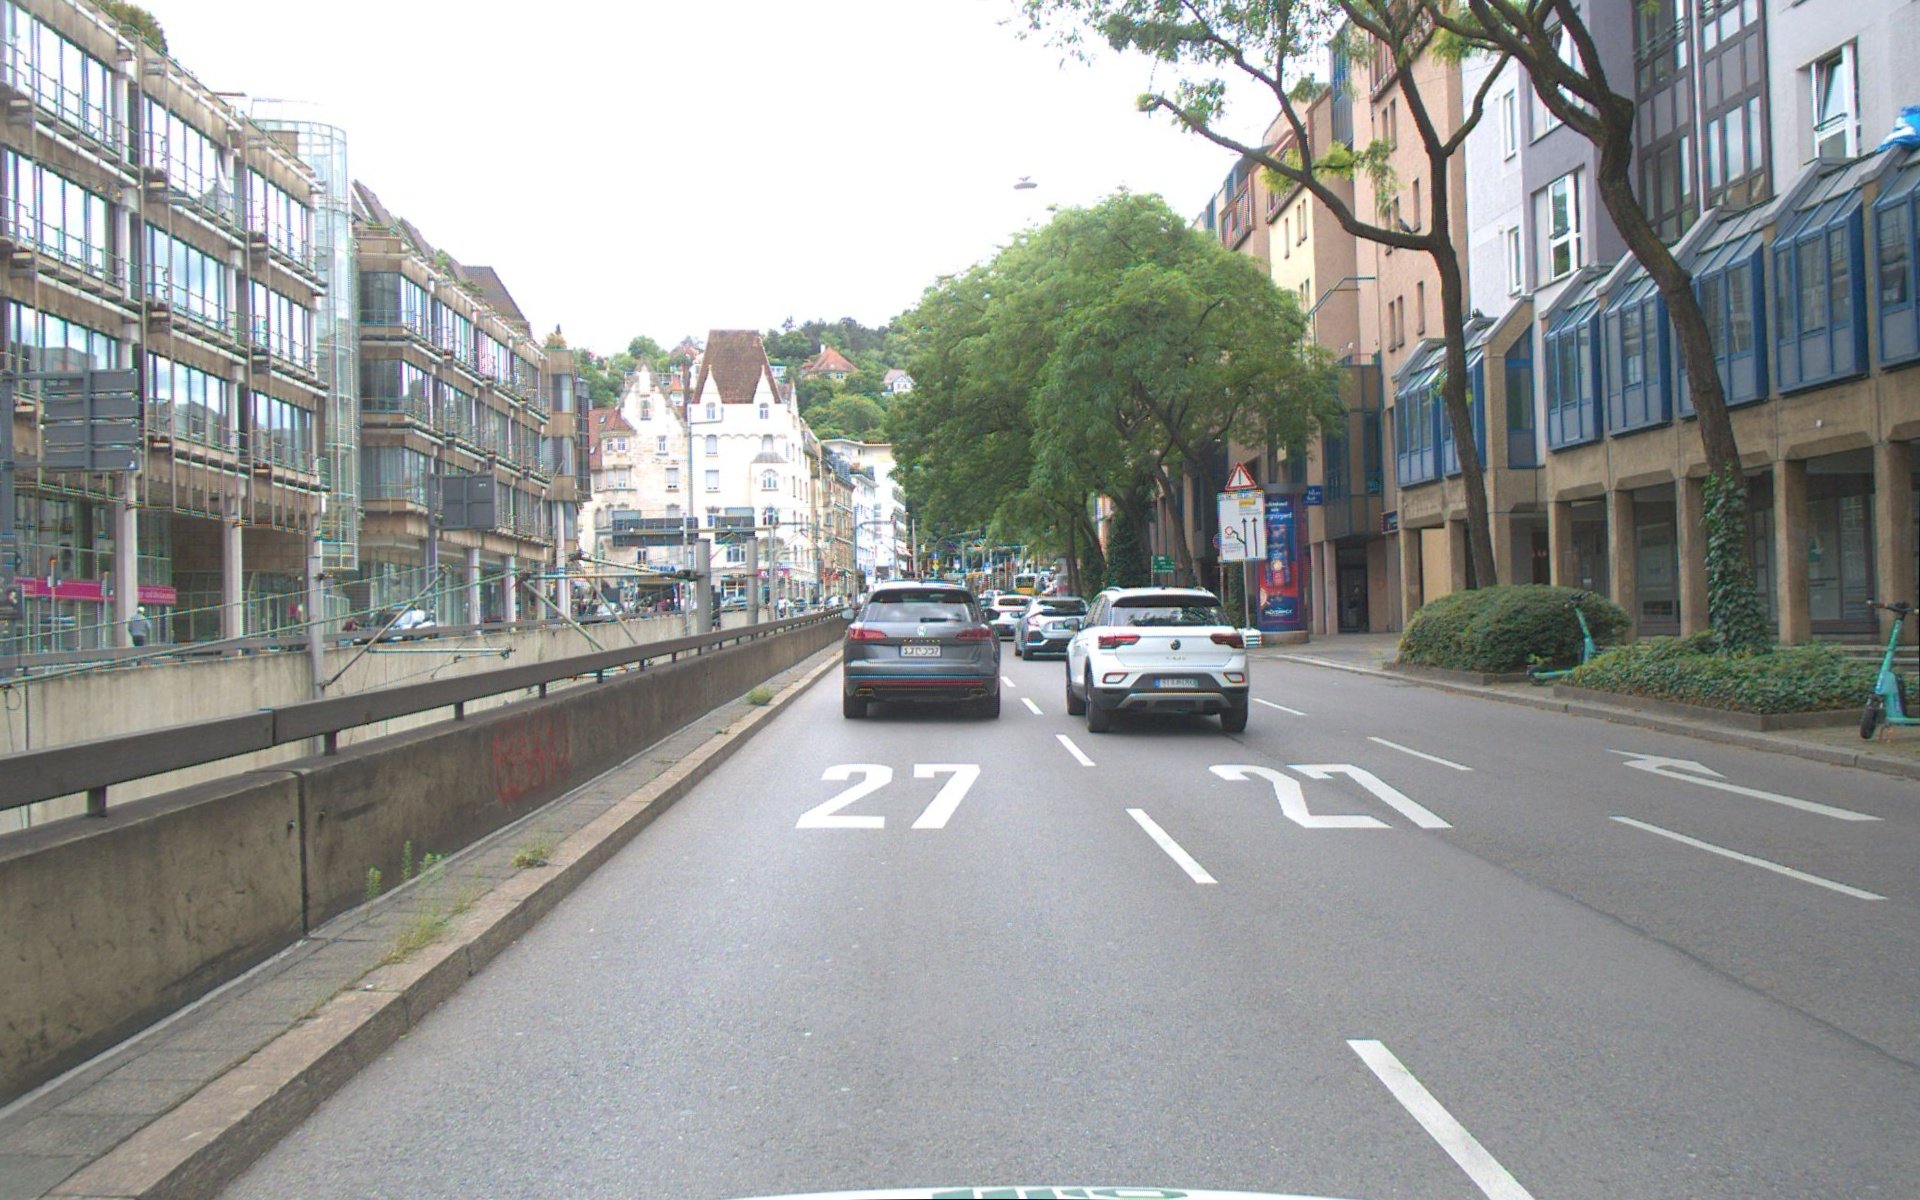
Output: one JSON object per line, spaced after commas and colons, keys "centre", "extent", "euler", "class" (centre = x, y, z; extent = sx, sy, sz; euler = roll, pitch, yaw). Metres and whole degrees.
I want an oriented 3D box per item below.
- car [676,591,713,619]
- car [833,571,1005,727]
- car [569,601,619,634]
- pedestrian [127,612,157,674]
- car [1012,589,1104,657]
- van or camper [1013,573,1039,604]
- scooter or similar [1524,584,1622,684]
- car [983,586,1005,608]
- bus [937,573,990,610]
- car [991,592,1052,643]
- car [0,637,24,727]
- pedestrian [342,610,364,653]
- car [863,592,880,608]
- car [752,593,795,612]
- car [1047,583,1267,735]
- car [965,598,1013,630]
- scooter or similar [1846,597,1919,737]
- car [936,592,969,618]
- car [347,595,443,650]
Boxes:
{"centre": [-18.225, 0.328, 113.831], "extent": [1.953, 1.798, 3.999], "euler": [-2, 0, -1], "class": "car"}
{"centre": [-0.571, 0.534, 21.306], "extent": [1.931, 1.725, 4.222], "euler": [-2, 1, -3], "class": "car"}
{"centre": [-21.079, 0.981, 95.325], "extent": [1.953, 1.798, 4.279], "euler": [-2, 0, -1], "class": "car"}
{"centre": [-24.671, 1.290, 49.902], "extent": [0.521, 1.824, 0.694], "euler": [-1, 0, -1], "class": "pedestrian"}
{"centre": [2.236, 0.564, 38.625], "extent": [1.796, 1.457, 4.146], "euler": [-1, -2, -1], "class": "car"}
{"centre": [7.290, -1.249, 181.729], "extent": [2.572, 3.234, 5.806], "euler": [-2, 0, 3], "class": "van or camper"}
{"centre": [8.548, 0.469, 23.090], "extent": [1.137, 1.307, 0.426], "euler": [-4, 0, 8], "class": "scooter or similar"}
{"centre": [3.013, -0.271, 147.940], "extent": [1.795, 1.907, 4.870], "euler": [-3, 0, 0], "class": "car"}
{"centre": [0.479, -0.952, 176.115], "extent": [3.768, 3.593, 17.258], "euler": [-2, 0, 6], "class": "bus"}
{"centre": [2.002, 0.550, 54.517], "extent": [1.795, 1.544, 3.767], "euler": [-3, 0, 0], "class": "car"}
{"centre": [-18.299, 1.523, 28.065], "extent": [1.952, 1.613, 4.888], "euler": [-2, 0, 1], "class": "car"}
{"centre": [-27.064, 1.407, 73.744], "extent": [0.760, 1.856, 0.711], "euler": [-2, 0, -11], "class": "pedestrian"}
{"centre": [-9.882, 0.018, 184.881], "extent": [1.783, 1.676, 3.996], "euler": [-2, 0, -5], "class": "car"}
{"centre": [-17.867, 0.229, 158.647], "extent": [3.917, 1.676, 1.819], "euler": [-1, 0, -12], "class": "car"}
{"centre": [2.159, 0.612, 19.183], "extent": [1.762, 1.572, 3.931], "euler": [0, 0, -5], "class": "car"}
{"centre": [1.307, 0.650, 76.636], "extent": [1.796, 1.387, 3.763], "euler": [-3, 0, -5], "class": "car"}
{"centre": [8.615, 0.578, 14.800], "extent": [1.084, 1.202, 0.428], "euler": [-3, 0, 9], "class": "scooter or similar"}
{"centre": [-0.485, 0.310, 108.339], "extent": [1.793, 1.594, 3.769], "euler": [-3, 0, 4], "class": "car"}
{"centre": [-19.942, 0.770, 58.584], "extent": [1.953, 1.798, 4.279], "euler": [-2, 0, -1], "class": "car"}
